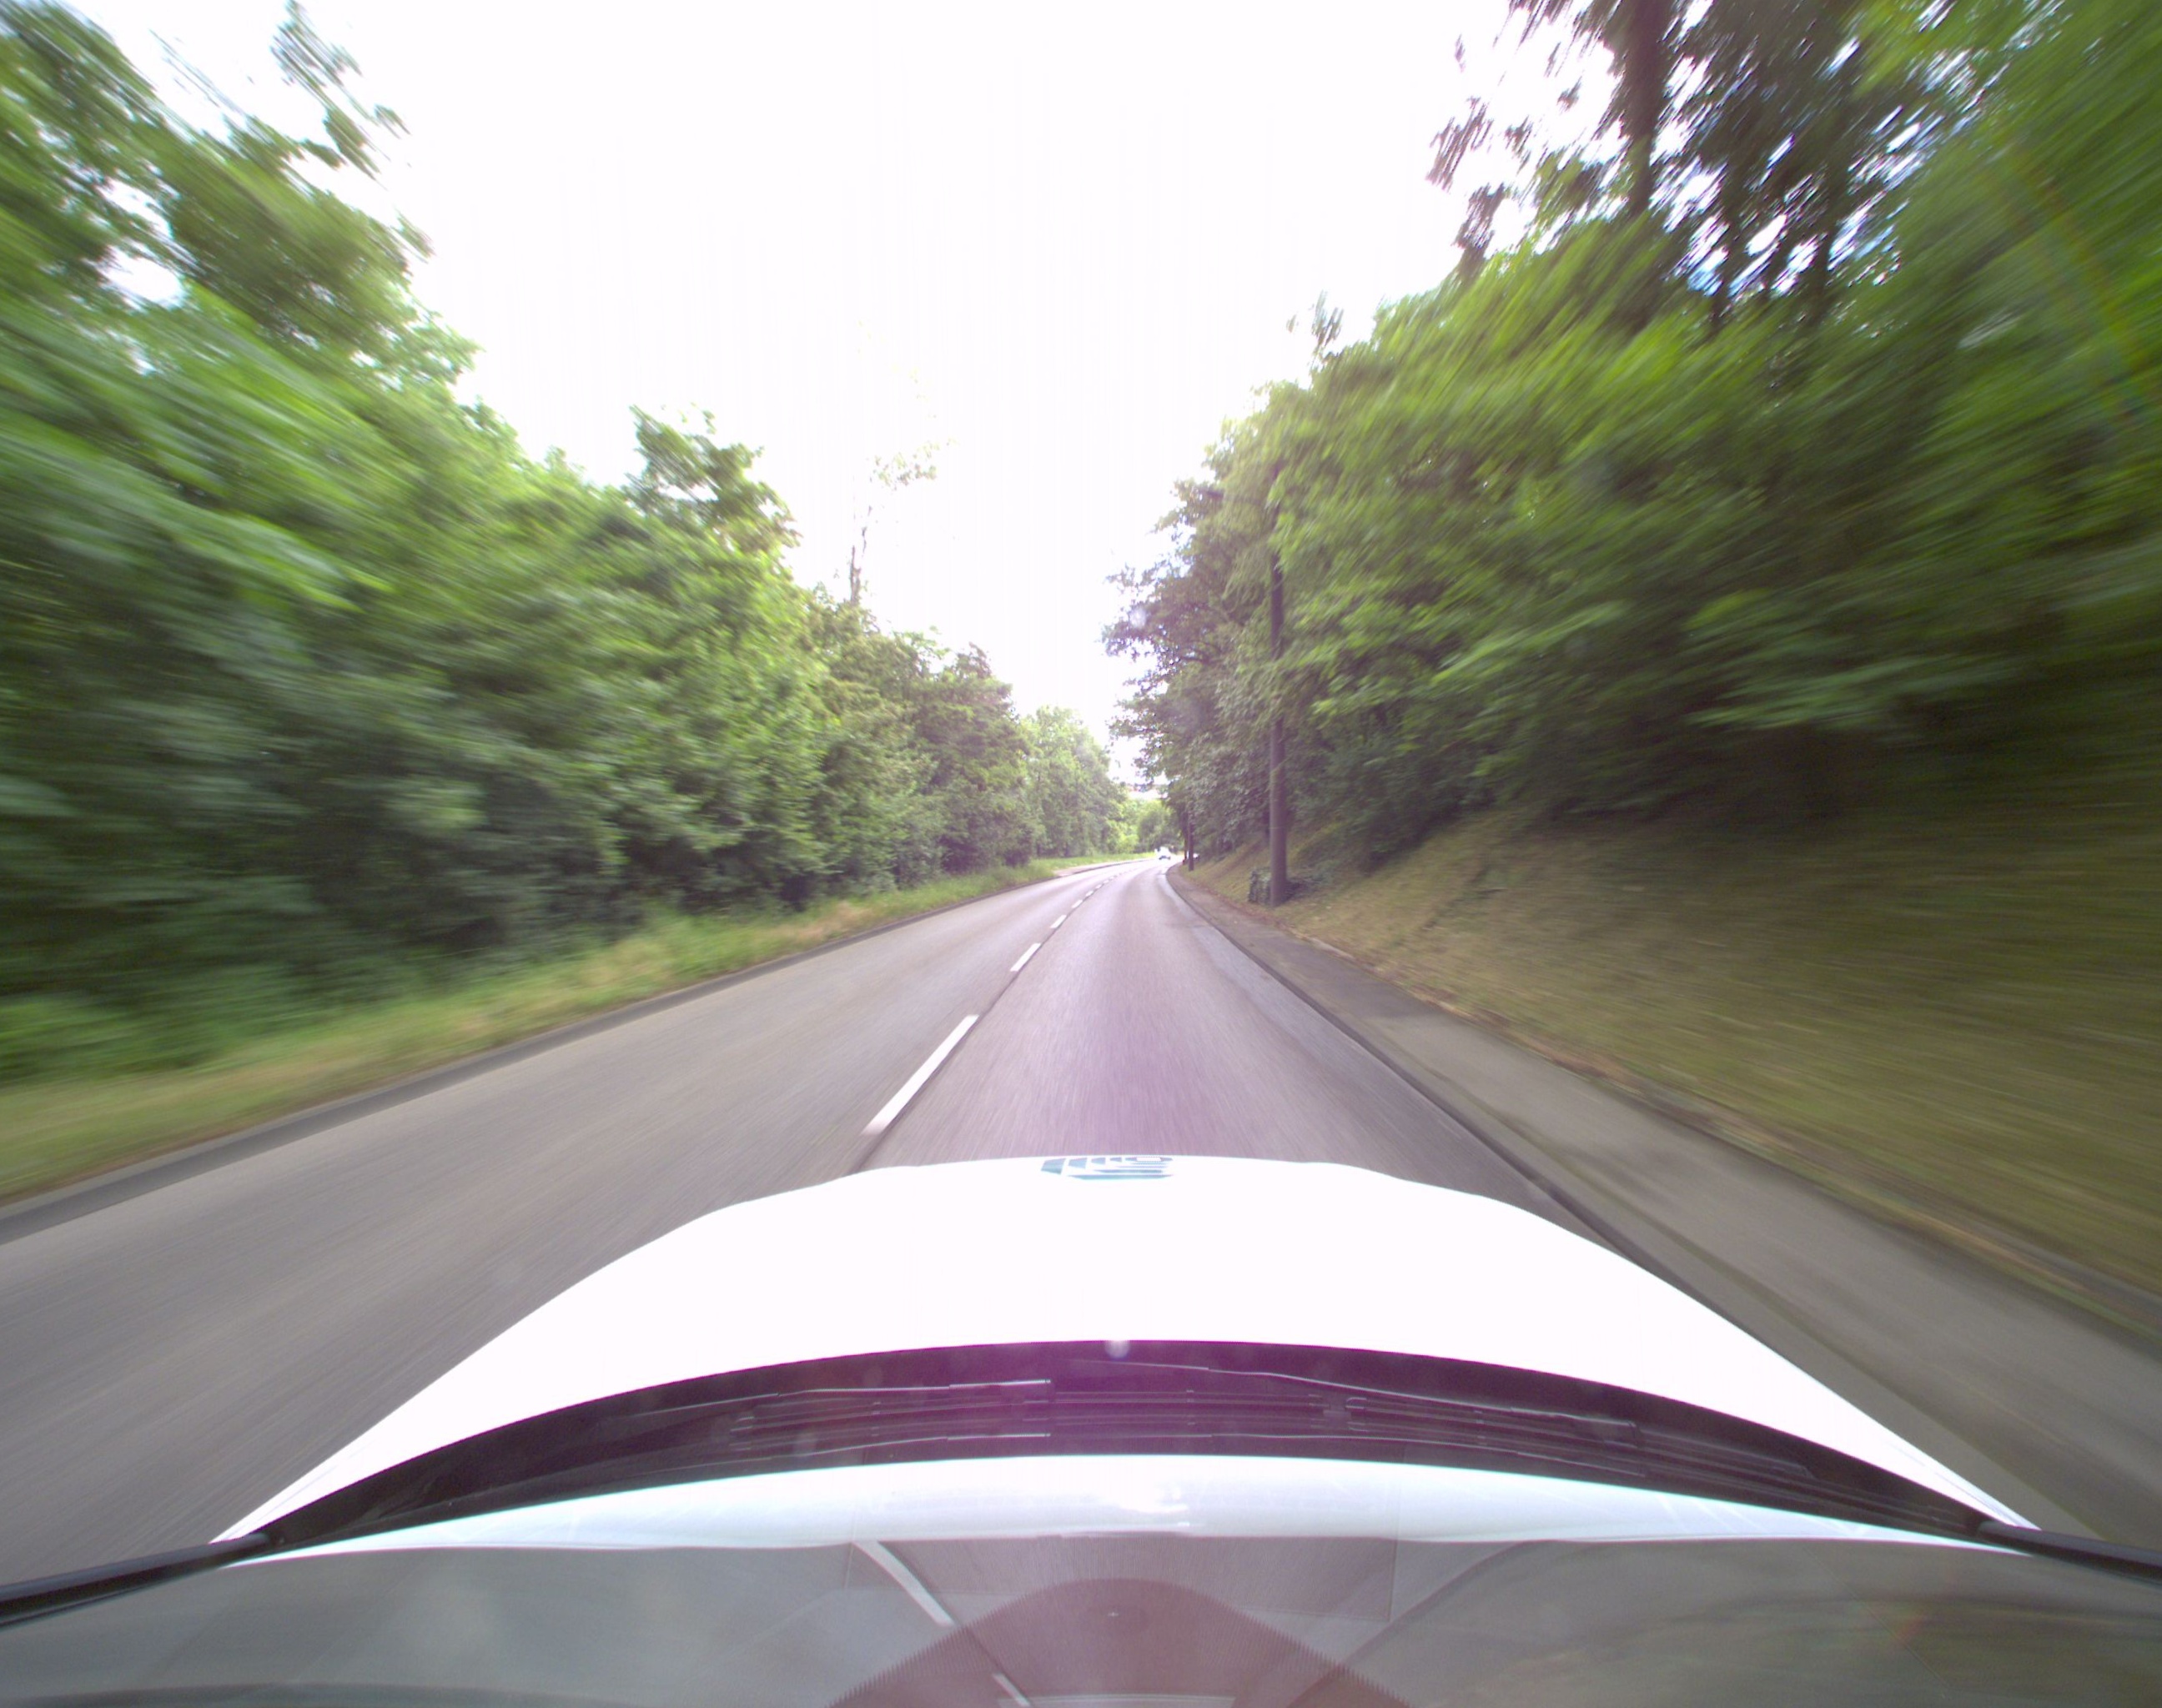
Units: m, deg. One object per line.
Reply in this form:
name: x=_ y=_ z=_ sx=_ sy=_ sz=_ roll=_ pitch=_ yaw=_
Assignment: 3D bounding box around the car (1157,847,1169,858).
car: x=14.232 y=-0.219 z=141.593 sx=1.983 sy=1.753 sz=4.791 roll=0 pitch=-1 yaw=7
